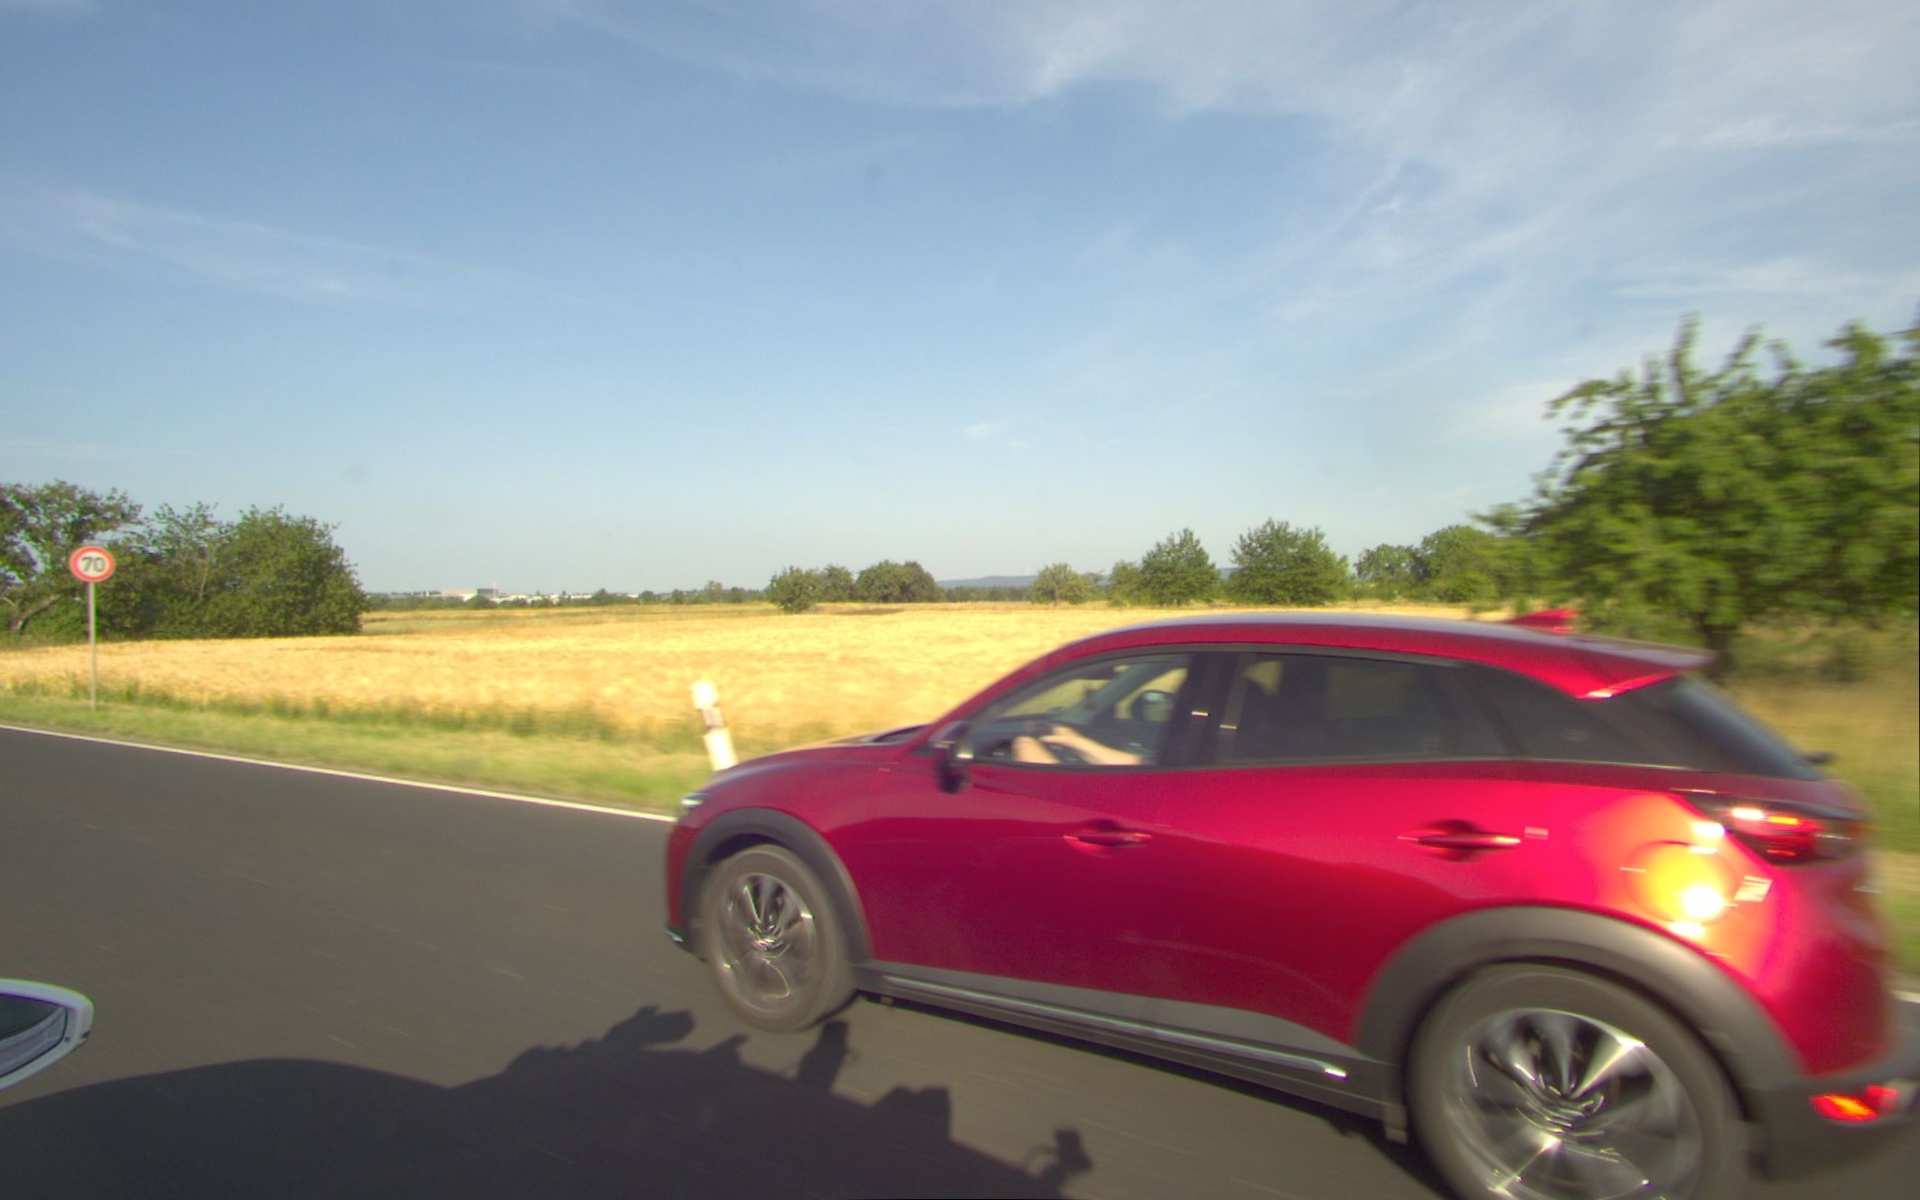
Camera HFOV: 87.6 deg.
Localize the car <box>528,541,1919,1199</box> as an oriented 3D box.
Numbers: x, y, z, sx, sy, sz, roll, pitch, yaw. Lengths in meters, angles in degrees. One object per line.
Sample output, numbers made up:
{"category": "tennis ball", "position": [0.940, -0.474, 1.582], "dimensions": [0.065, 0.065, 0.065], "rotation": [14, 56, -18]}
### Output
{"category": "car", "position": [0.466, 0.724, 3.865], "dimensions": [4.436, 1.525, 1.702], "rotation": [-2, -2, 32]}
